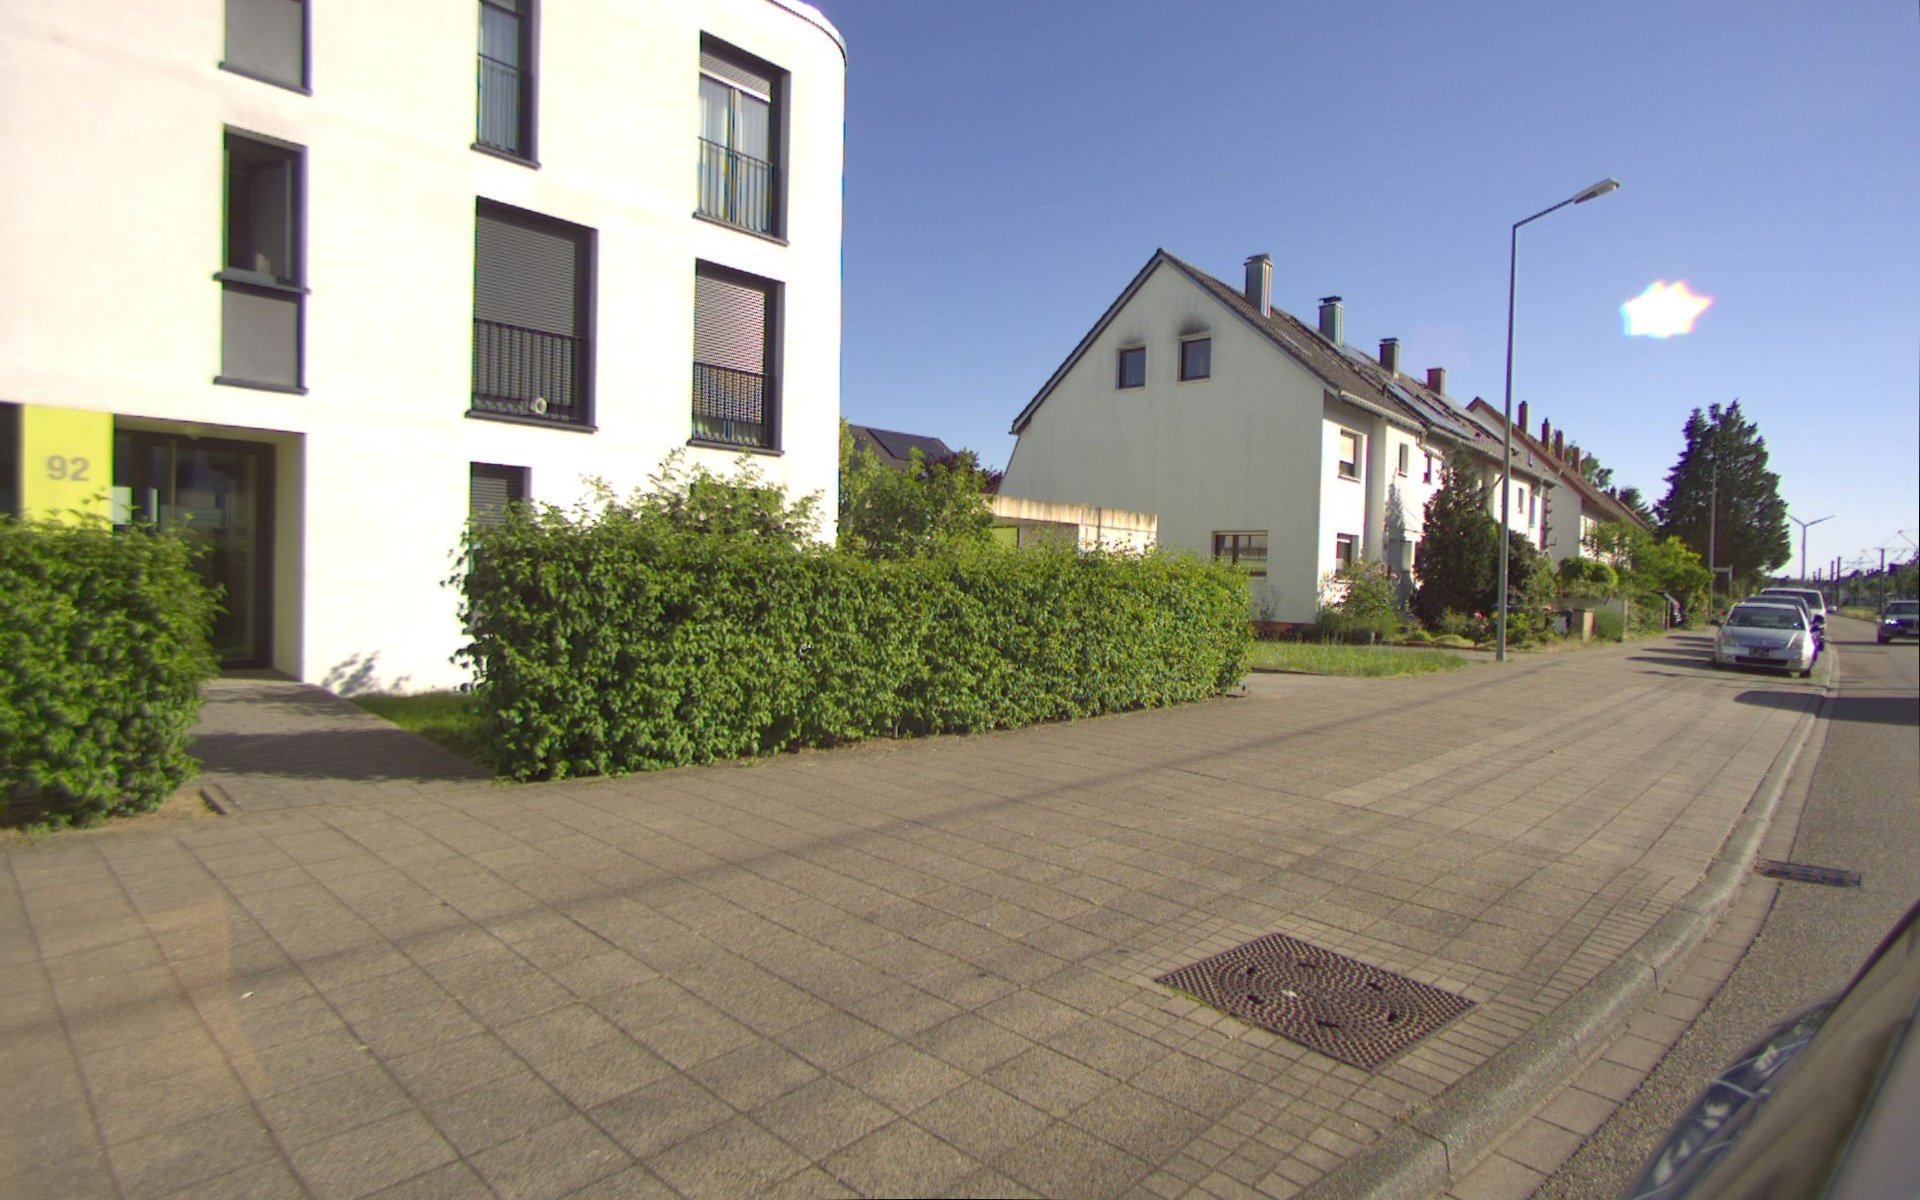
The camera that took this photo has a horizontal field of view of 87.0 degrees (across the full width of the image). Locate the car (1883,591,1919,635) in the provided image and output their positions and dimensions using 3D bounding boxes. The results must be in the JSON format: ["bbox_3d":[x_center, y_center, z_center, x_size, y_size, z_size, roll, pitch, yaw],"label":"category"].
[{"bbox_3d":[36.340,0.500,38.308,1.889,1.533,3.693,5,3,44],"label":"car"}]

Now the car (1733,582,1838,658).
[{"bbox_3d":[21.329,0.461,26.088,1.696,1.723,3.949,5,3,44],"label":"car"}]

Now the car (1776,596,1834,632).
[{"bbox_3d":[38.917,0.605,46.565,1.696,1.492,3.949,5,3,44],"label":"car"}]

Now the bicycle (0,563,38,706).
[{"bbox_3d":[-7.985,0.260,7.494,1.699,1.089,0.515,0,0,-43],"label":"bicycle"}]

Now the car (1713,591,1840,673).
[{"bbox_3d":[17.543,0.626,21.682,1.696,1.492,3.949,5,3,44],"label":"car"}]

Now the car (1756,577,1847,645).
[{"bbox_3d":[27.373,0.332,32.880,1.889,1.986,3.949,5,3,44],"label":"car"}]

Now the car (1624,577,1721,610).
[{"bbox_3d":[38.716,-0.334,55.052,1.966,1.705,3.991,0,0,-43],"label":"car"}]
